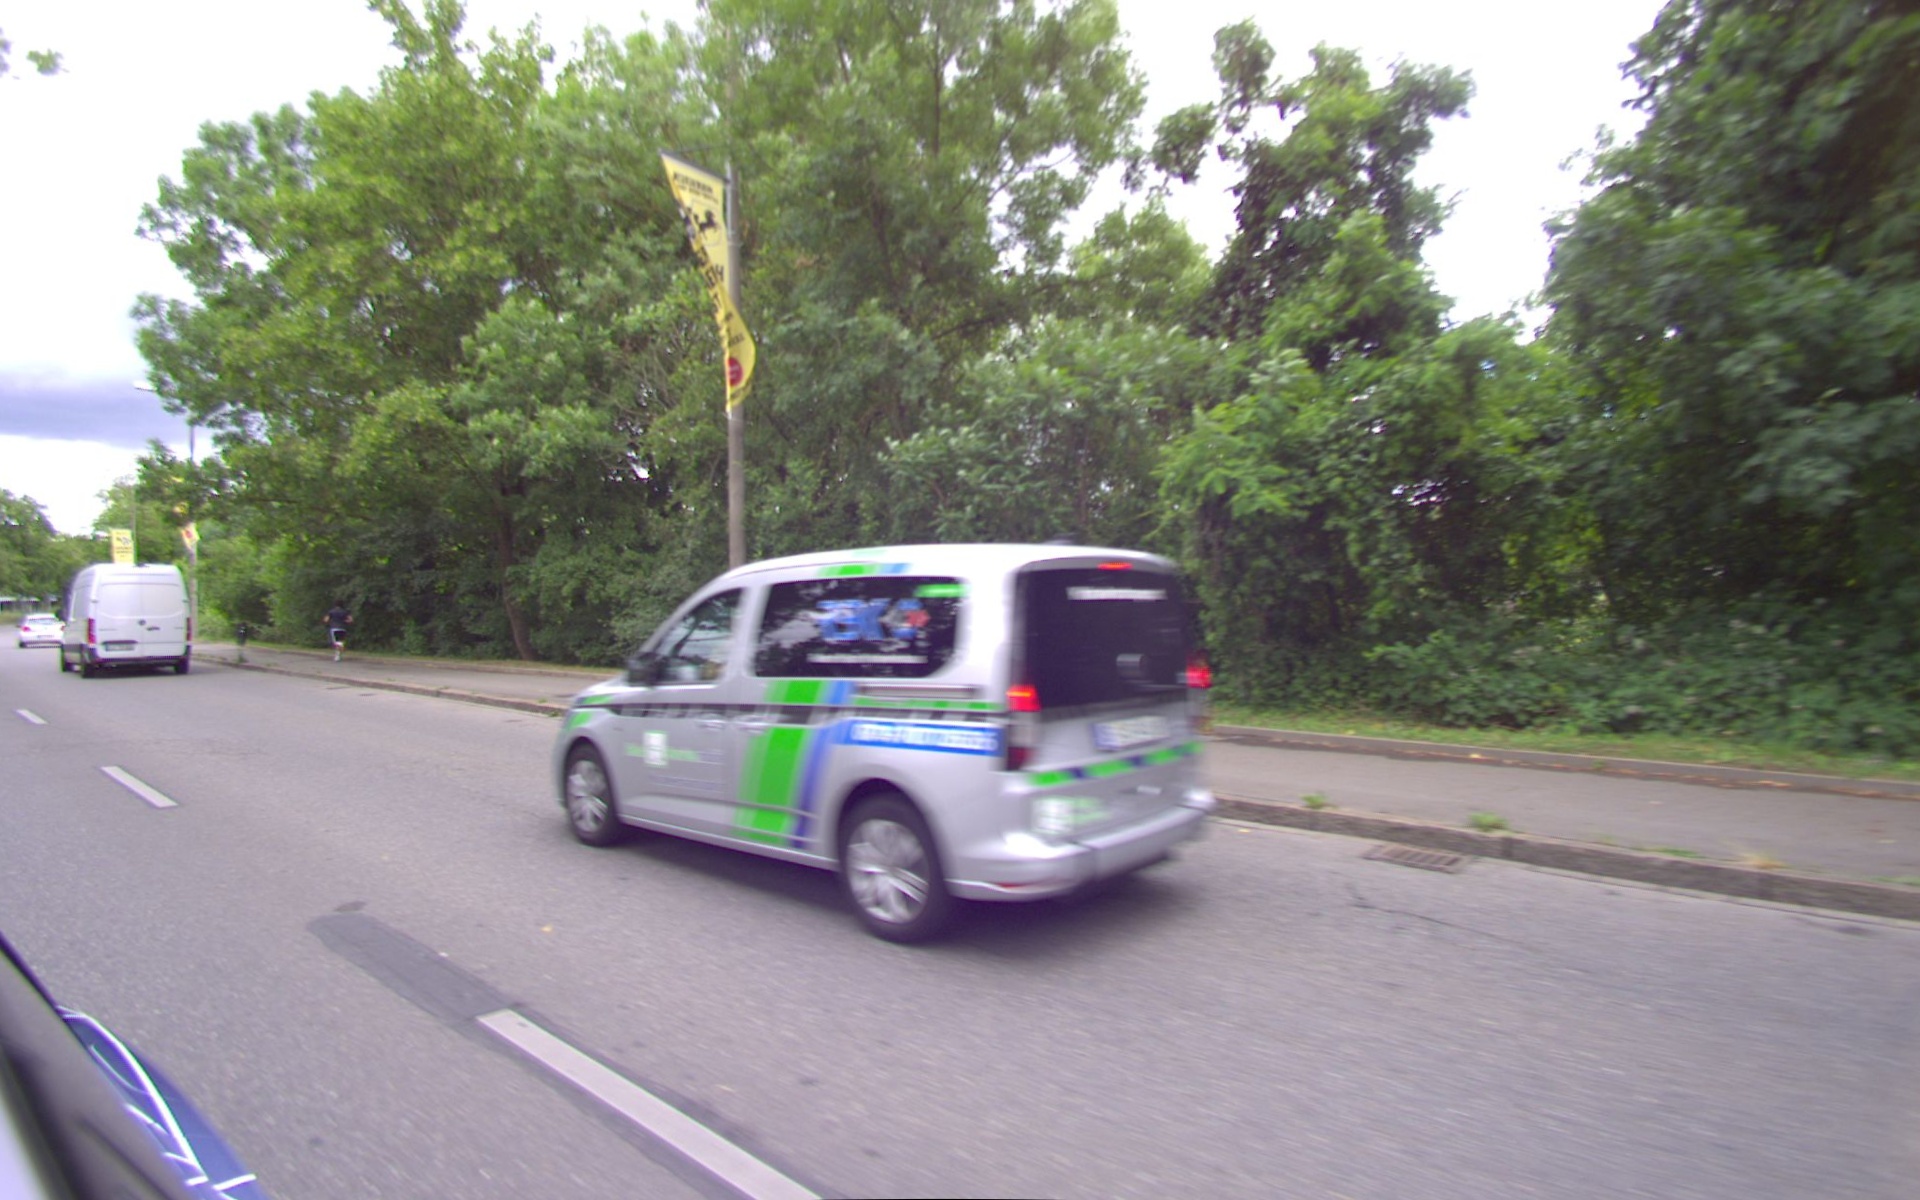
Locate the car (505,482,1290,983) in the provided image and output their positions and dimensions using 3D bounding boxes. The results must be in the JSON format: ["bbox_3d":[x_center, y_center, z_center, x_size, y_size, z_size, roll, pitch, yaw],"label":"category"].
[{"bbox_3d":[-0.672,0.521,5.861,4.553,1.813,1.837,-1,-1,41],"label":"car"}]

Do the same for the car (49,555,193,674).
[{"bbox_3d":[-20.970,0.387,25.191,5.894,2.646,1.972,-1,-2,43],"label":"car"}]

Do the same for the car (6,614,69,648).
[{"bbox_3d":[-41.754,1.362,45.875,1.701,1.439,4.009,0,0,-36],"label":"car"}]

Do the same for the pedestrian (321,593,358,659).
[{"bbox_3d":[-16.807,0.705,27.411,0.814,1.727,0.593,-1,1,42],"label":"pedestrian"}]
